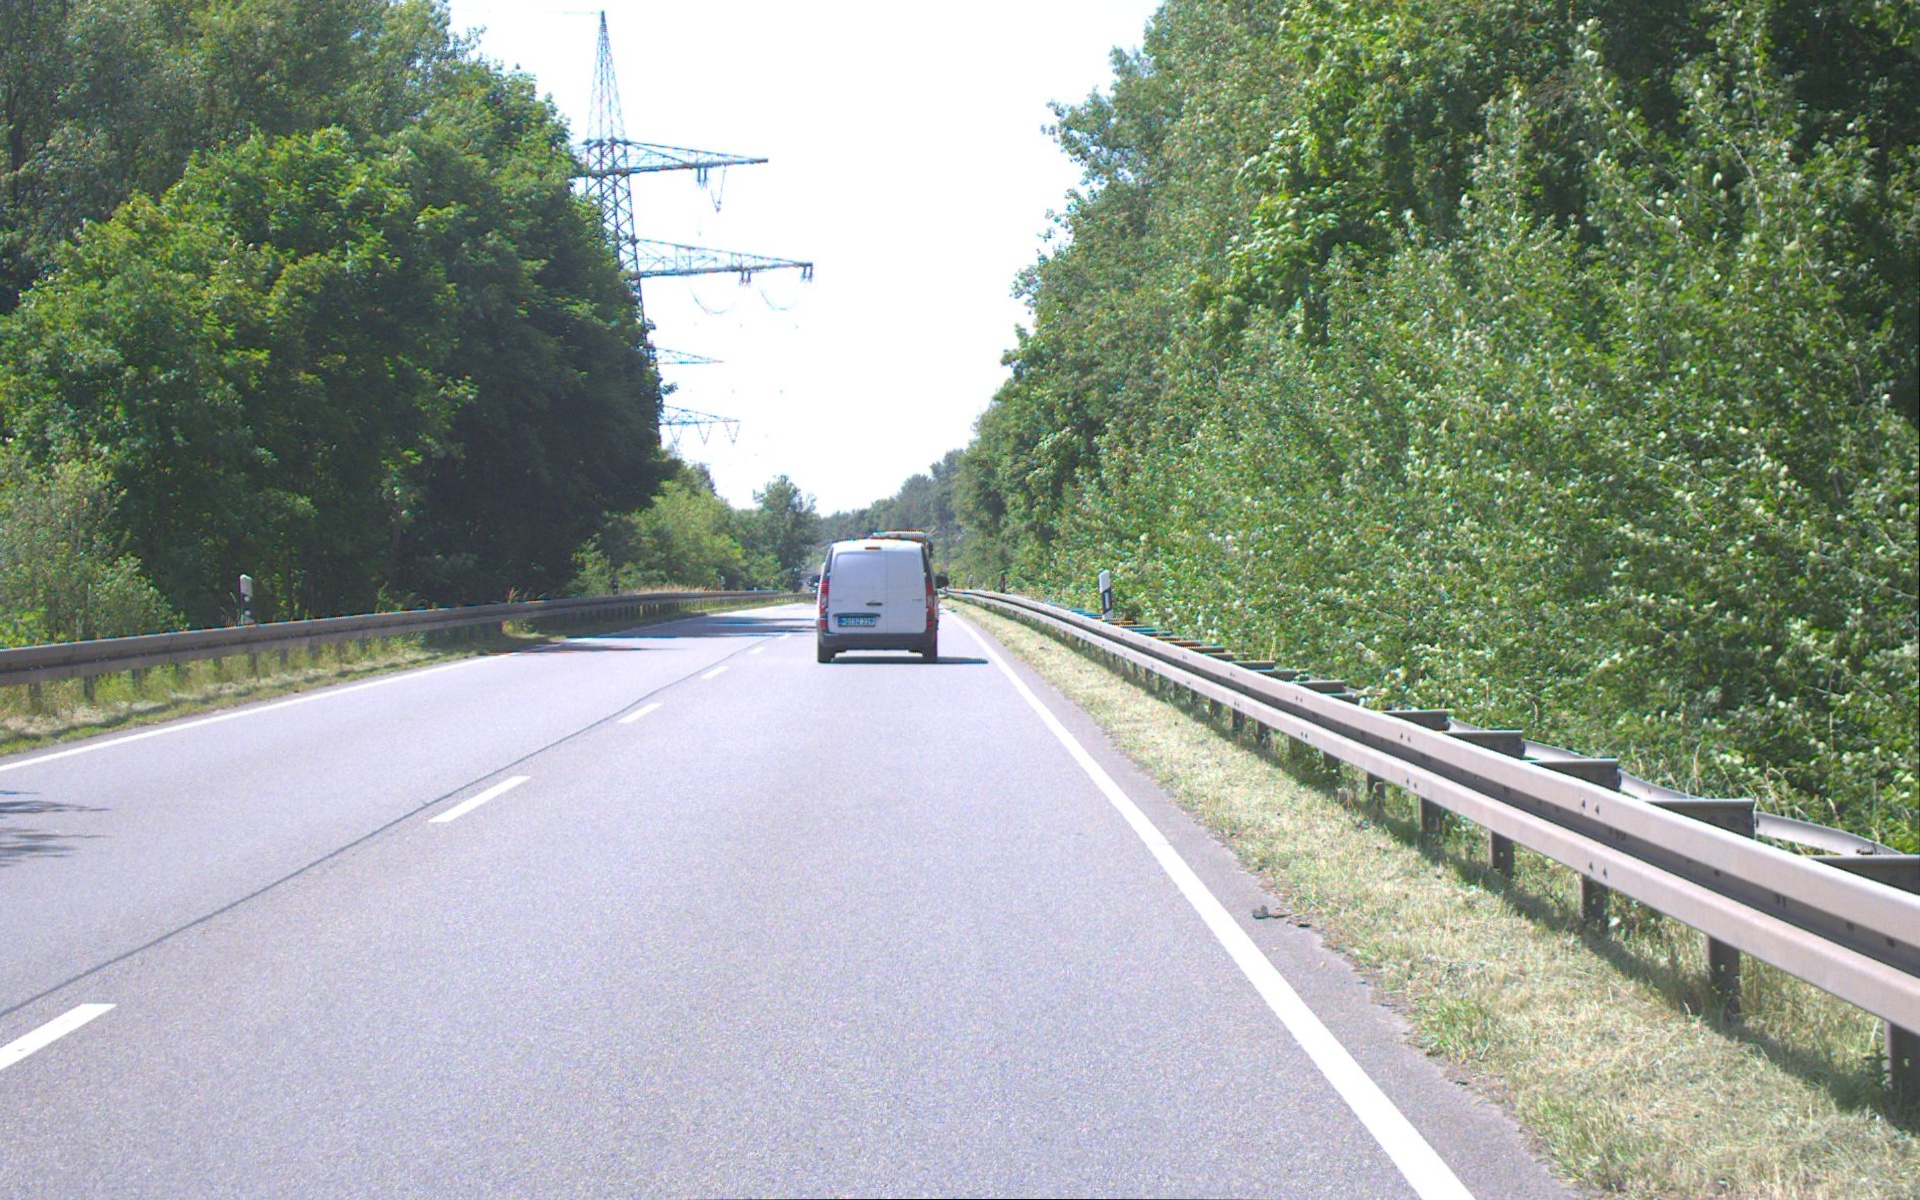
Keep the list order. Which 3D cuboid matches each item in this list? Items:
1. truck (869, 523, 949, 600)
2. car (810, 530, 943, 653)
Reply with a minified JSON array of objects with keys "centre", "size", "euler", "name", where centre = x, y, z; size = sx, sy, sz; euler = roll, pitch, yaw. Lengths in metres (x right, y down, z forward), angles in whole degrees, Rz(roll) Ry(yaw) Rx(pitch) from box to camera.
[{"centre":[-2.228,-1.739,148.769],"size":[3.296,3.161,14.406],"euler":[0,1,-1],"name":"truck"},{"centre":[-1.215,-0.165,50.692],"size":[1.875,1.735,4.000],"euler":[0,1,-1],"name":"car"}]
